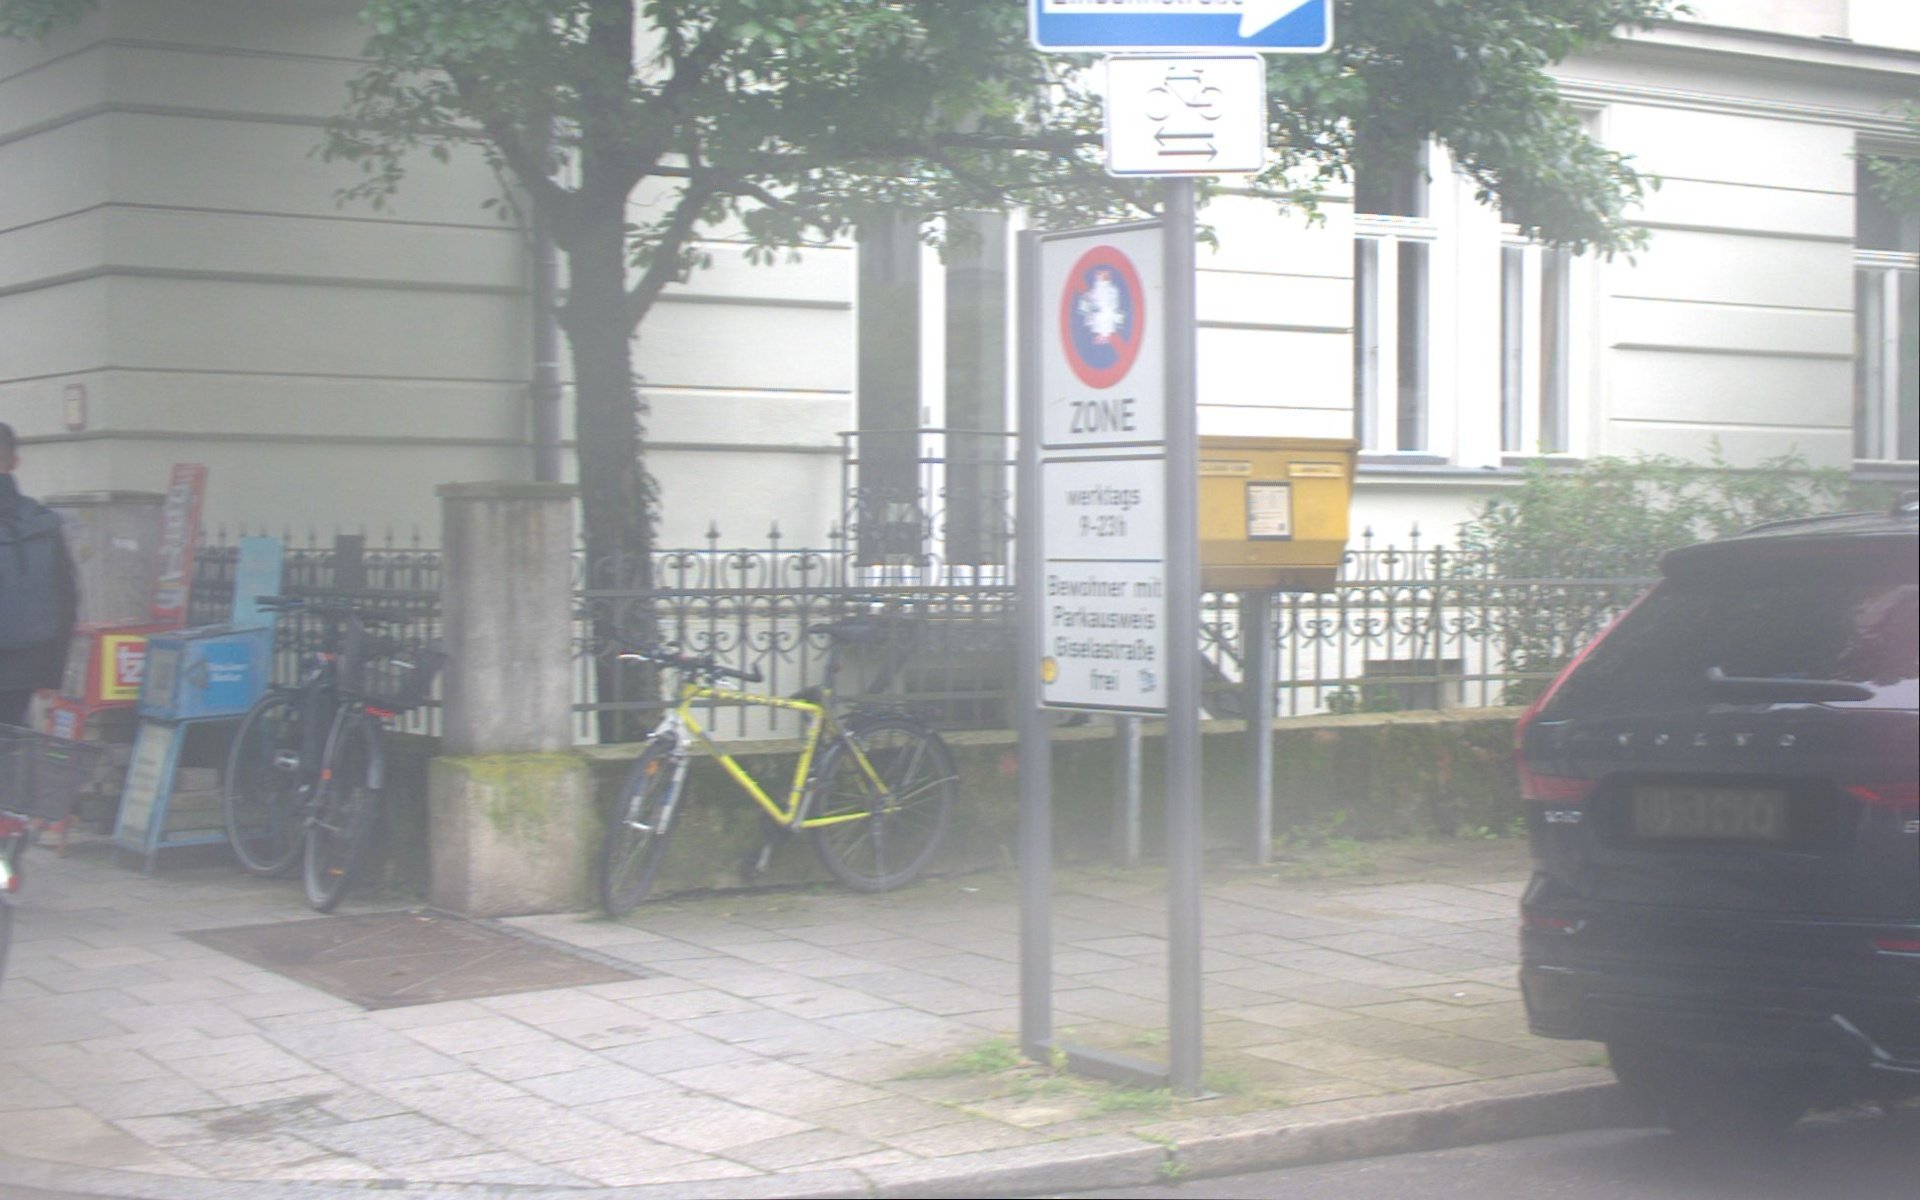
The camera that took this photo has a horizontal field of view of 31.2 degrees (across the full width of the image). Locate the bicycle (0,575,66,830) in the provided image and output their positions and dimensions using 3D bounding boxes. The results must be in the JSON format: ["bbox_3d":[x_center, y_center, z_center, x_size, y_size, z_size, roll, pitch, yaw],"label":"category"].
[{"bbox_3d":[-4.447,0.435,15.514,0.546,1.056,1.751,0,2,-23],"label":"bicycle"}]

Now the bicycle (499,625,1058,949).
[{"bbox_3d":[-0.625,0.629,12.164,1.922,1.024,0.557,-1,3,-29],"label":"bicycle"}]

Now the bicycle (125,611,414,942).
[{"bbox_3d":[-2.544,0.599,12.515,0.430,1.024,1.891,-1,3,-31],"label":"bicycle"}]

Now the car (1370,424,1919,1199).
[{"bbox_3d":[3.654,0.481,9.075,5.038,1.647,1.943,0,-2,-35],"label":"car"}]

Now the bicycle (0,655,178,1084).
[{"bbox_3d":[-3.087,0.664,9.535,2.200,1.024,0.654,3,3,42],"label":"bicycle"}]

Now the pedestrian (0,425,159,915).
[{"bbox_3d":[-3.442,0.227,12.278,0.857,1.683,0.975,-2,2,-30],"label":"pedestrian"}]
